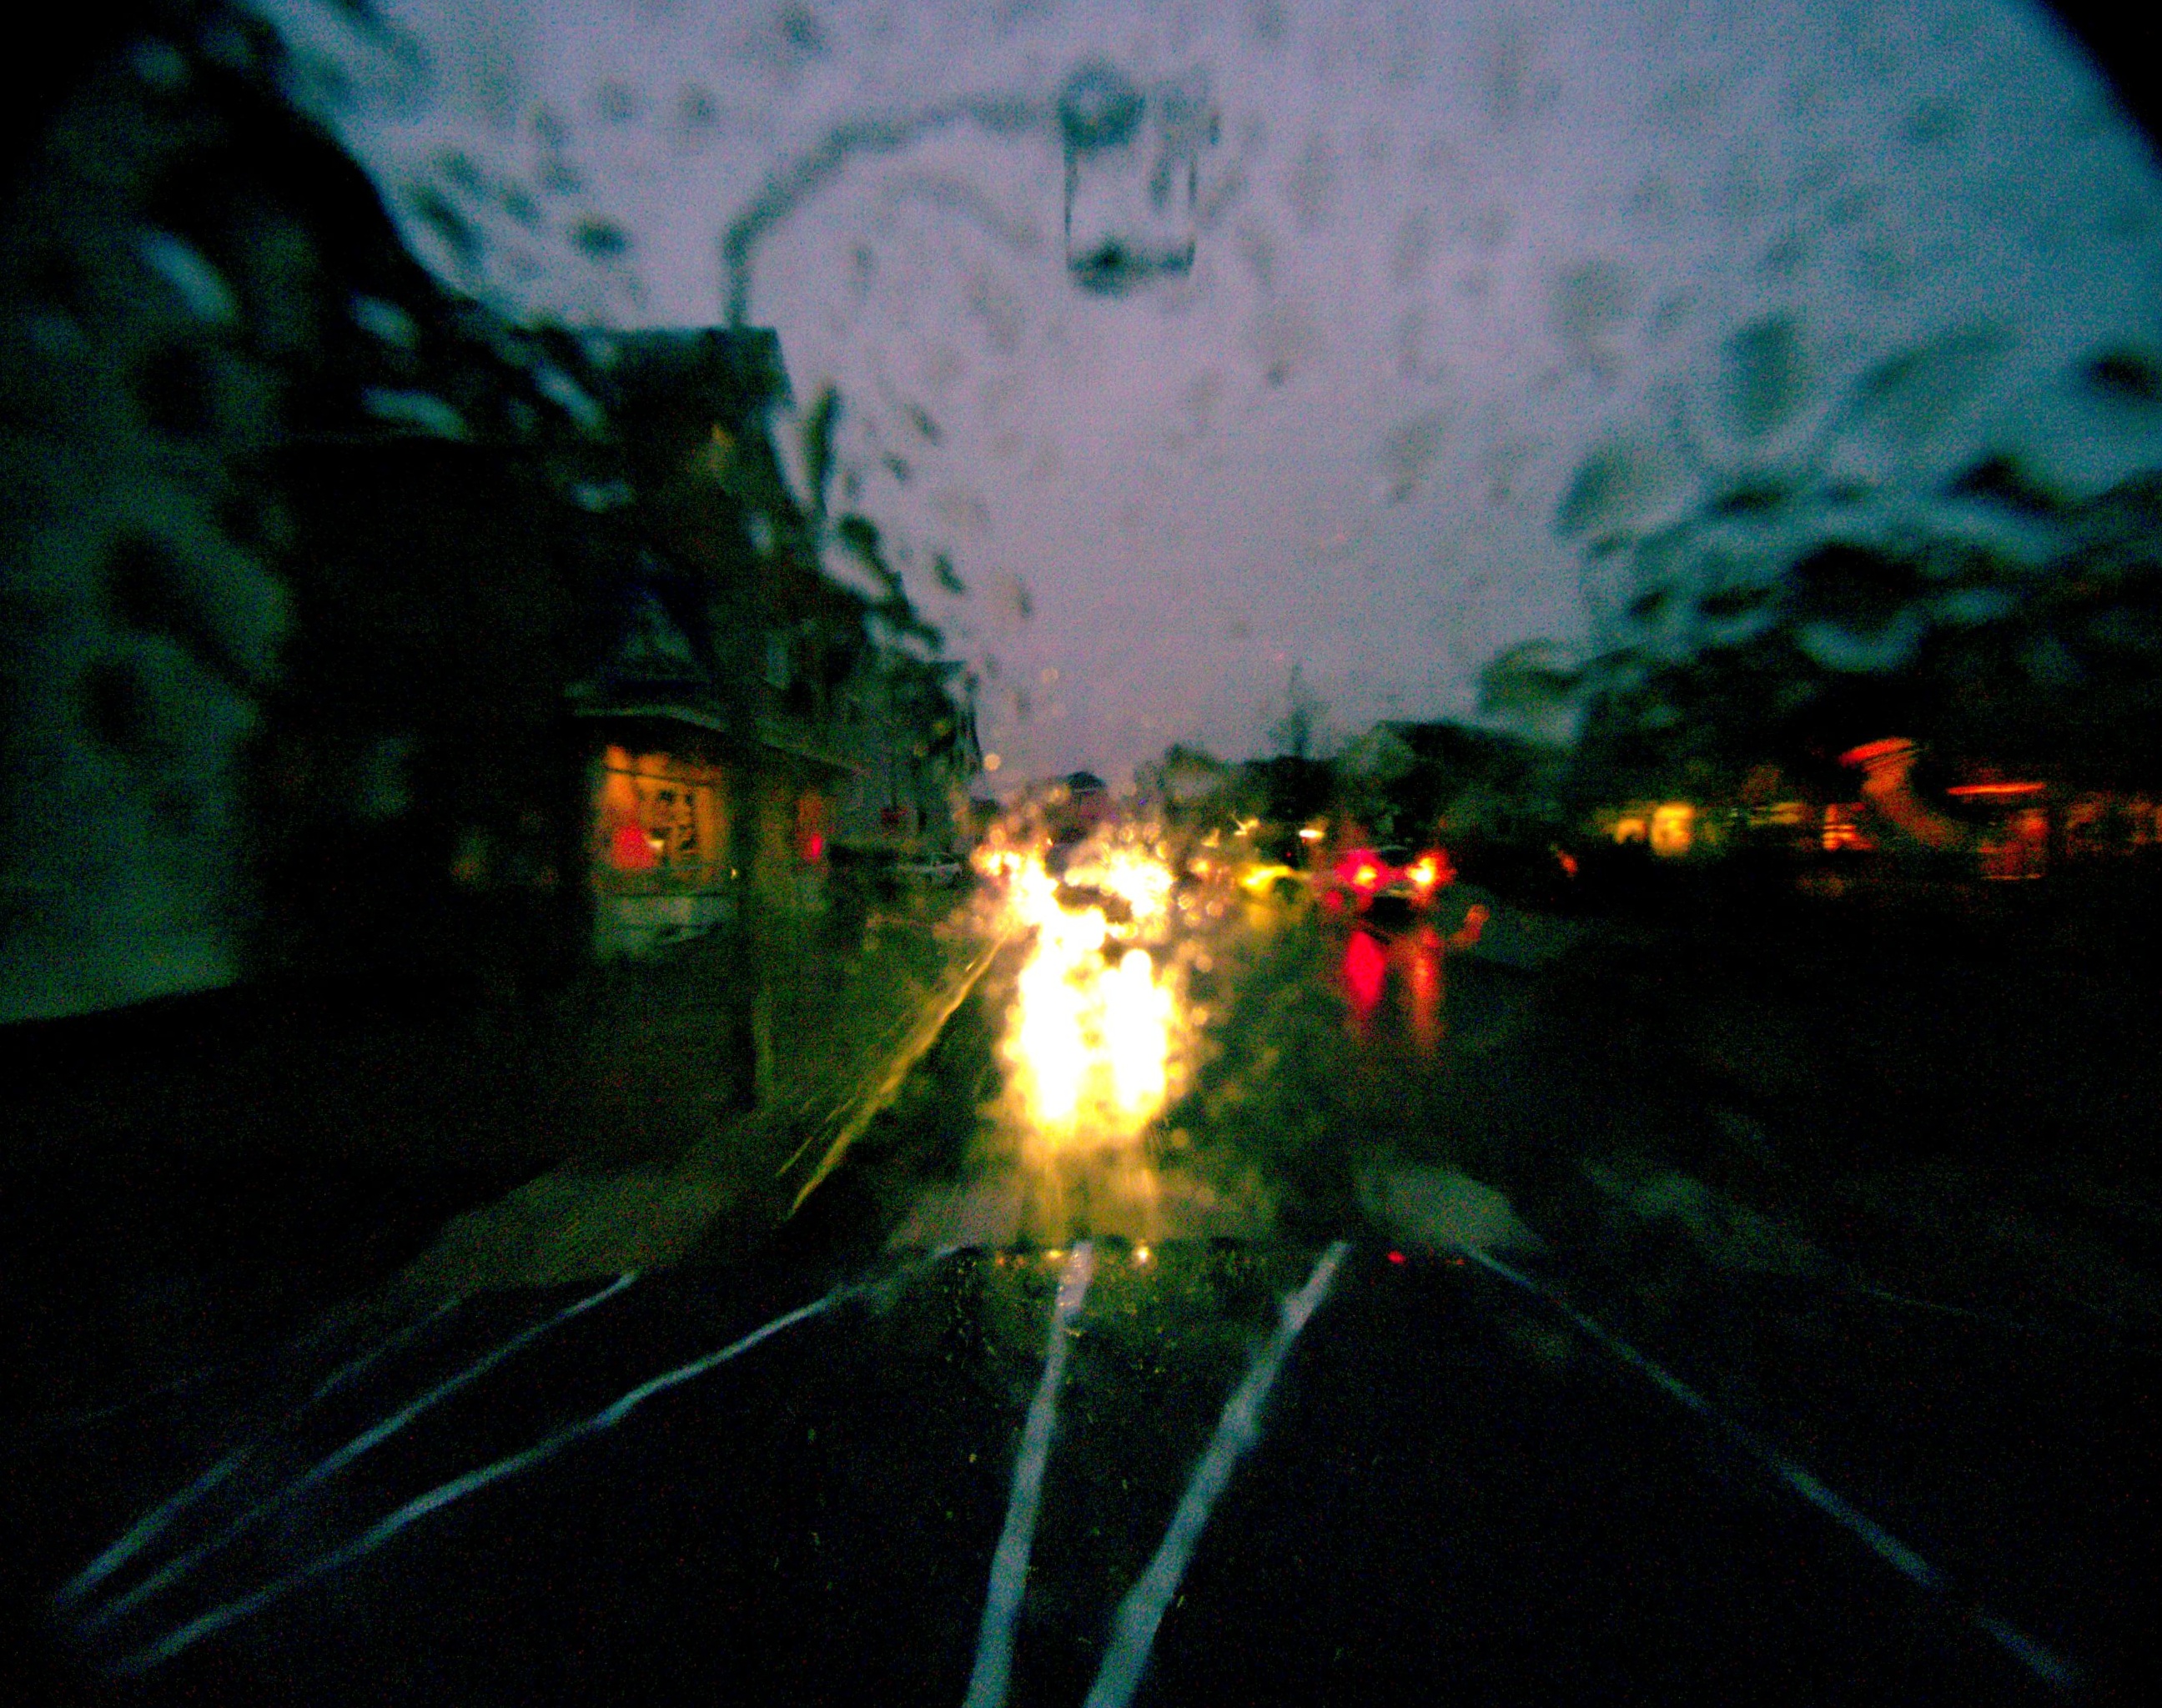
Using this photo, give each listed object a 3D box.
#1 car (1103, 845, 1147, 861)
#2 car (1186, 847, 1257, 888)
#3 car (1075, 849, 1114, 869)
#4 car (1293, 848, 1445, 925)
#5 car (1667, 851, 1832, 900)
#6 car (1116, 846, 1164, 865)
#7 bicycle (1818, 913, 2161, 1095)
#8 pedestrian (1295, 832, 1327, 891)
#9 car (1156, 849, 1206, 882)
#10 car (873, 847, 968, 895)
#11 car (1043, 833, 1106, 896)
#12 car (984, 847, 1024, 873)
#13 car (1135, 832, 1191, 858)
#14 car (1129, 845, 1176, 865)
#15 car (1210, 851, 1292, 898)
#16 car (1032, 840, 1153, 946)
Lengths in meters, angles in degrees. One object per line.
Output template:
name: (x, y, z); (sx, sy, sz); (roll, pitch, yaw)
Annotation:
car: (4.035, -0.138, 69.693); (3.996, 1.291, 2.000); (-2, 1, 3)
car: (5.789, 0.508, 31.649); (1.880, 1.526, 3.669); (-2, 1, -6)
car: (1.027, 0.366, 60.028); (1.984, 1.438, 3.908); (-2, 1, -16)
car: (6.468, 0.648, 17.576); (1.789, 1.480, 4.181); (-2, 1, -2)
car: (23.356, 0.711, 26.773); (2.000, 1.555, 3.996); (0, 1, -9)
car: (5.198, 0.099, 66.779); (3.994, 1.538, 2.001); (-2, 1, 8)
bicycle: (6.720, 1.023, 5.703); (0.325, 1.055, 1.742); (4, -2, -16)
pedestrian: (8.006, 0.262, 26.480); (0.902, 2.002, 0.791); (-1, 1, 7)
car: (5.079, 0.563, 39.194); (1.840, 1.526, 4.137); (-2, 1, -2)
car: (-5.651, 0.551, 27.415); (1.933, 1.477, 4.698); (-2, 1, 7)
car: (-0.237, 0.322, 27.284); (1.999, 2.002, 3.999); (-2, 1, -1)
car: (-5.934, 0.463, 58.237); (2.002, 1.844, 3.993); (-2, 1, -20)
car: (6.166, -0.690, 56.939); (3.994, 1.753, 1.434); (-2, 1, 10)
car: (6.054, 0.064, 64.138); (3.840, 1.537, 2.000); (-2, 1, 5)
car: (5.754, 0.638, 26.260); (1.699, 1.423, 4.376); (-2, 0, -2)
car: (0.119, 0.633, 14.855); (1.999, 1.720, 3.998); (-2, 1, -2)
